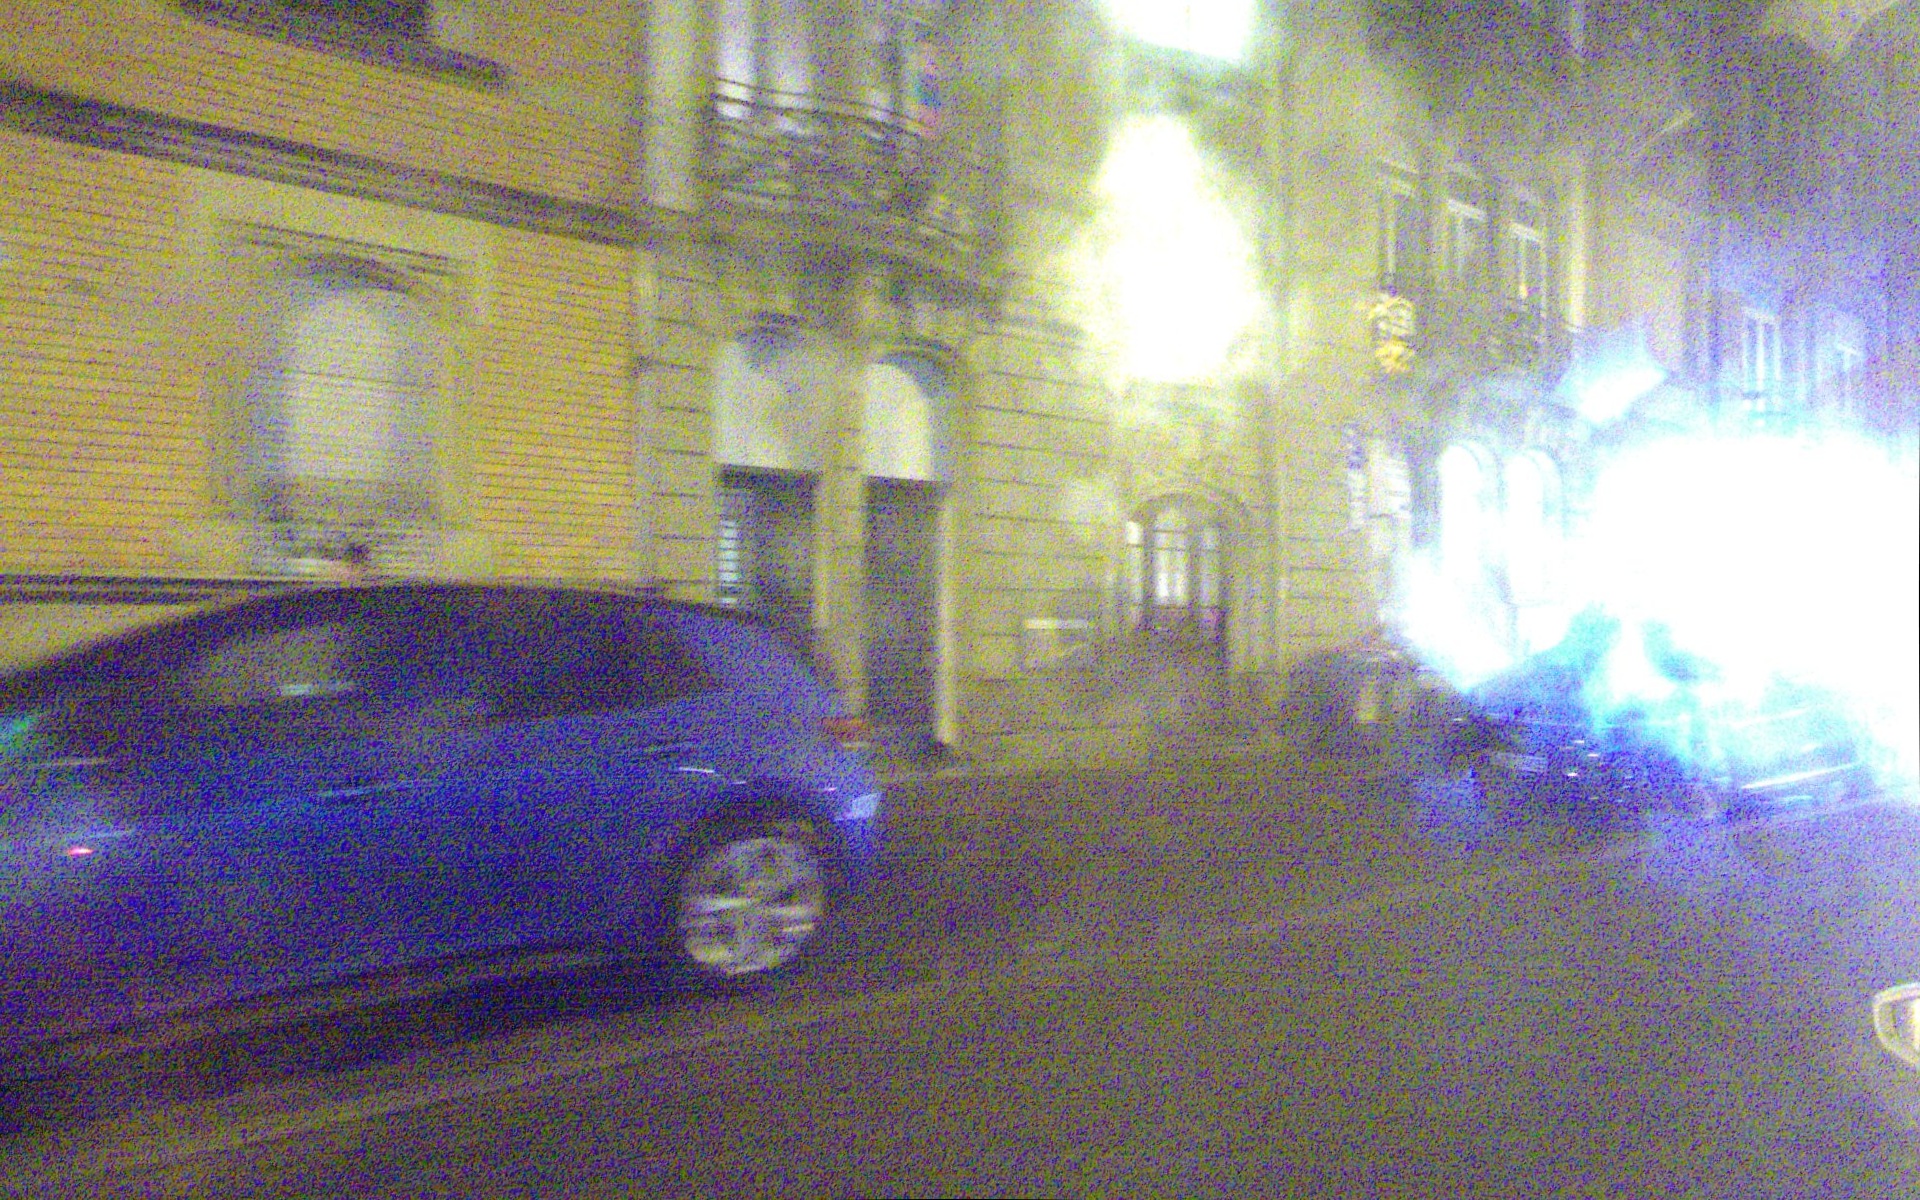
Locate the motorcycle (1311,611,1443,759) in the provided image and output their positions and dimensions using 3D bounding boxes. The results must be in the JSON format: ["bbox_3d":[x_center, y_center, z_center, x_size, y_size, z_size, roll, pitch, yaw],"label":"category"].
[{"bbox_3d":[4.453,0.873,10.715,1.441,1.490,0.534,1,0,-31],"label":"motorcycle"}]

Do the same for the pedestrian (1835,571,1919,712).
[{"bbox_3d":[15.358,0.682,16.796,1.104,2.270,0.795,1,-1,-31],"label":"pedestrian"}]

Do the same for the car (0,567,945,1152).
[{"bbox_3d":[-2.238,0.689,3.753,4.116,1.498,1.706,1,-1,-34],"label":"car"}]

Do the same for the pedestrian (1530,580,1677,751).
[{"bbox_3d":[7.604,0.746,11.882,1.399,1.888,0.950,1,-1,-31],"label":"pedestrian"}]

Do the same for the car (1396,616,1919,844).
[{"bbox_3d":[6.173,0.915,8.693,4.972,1.498,1.838,1,-1,-30],"label":"car"}]
